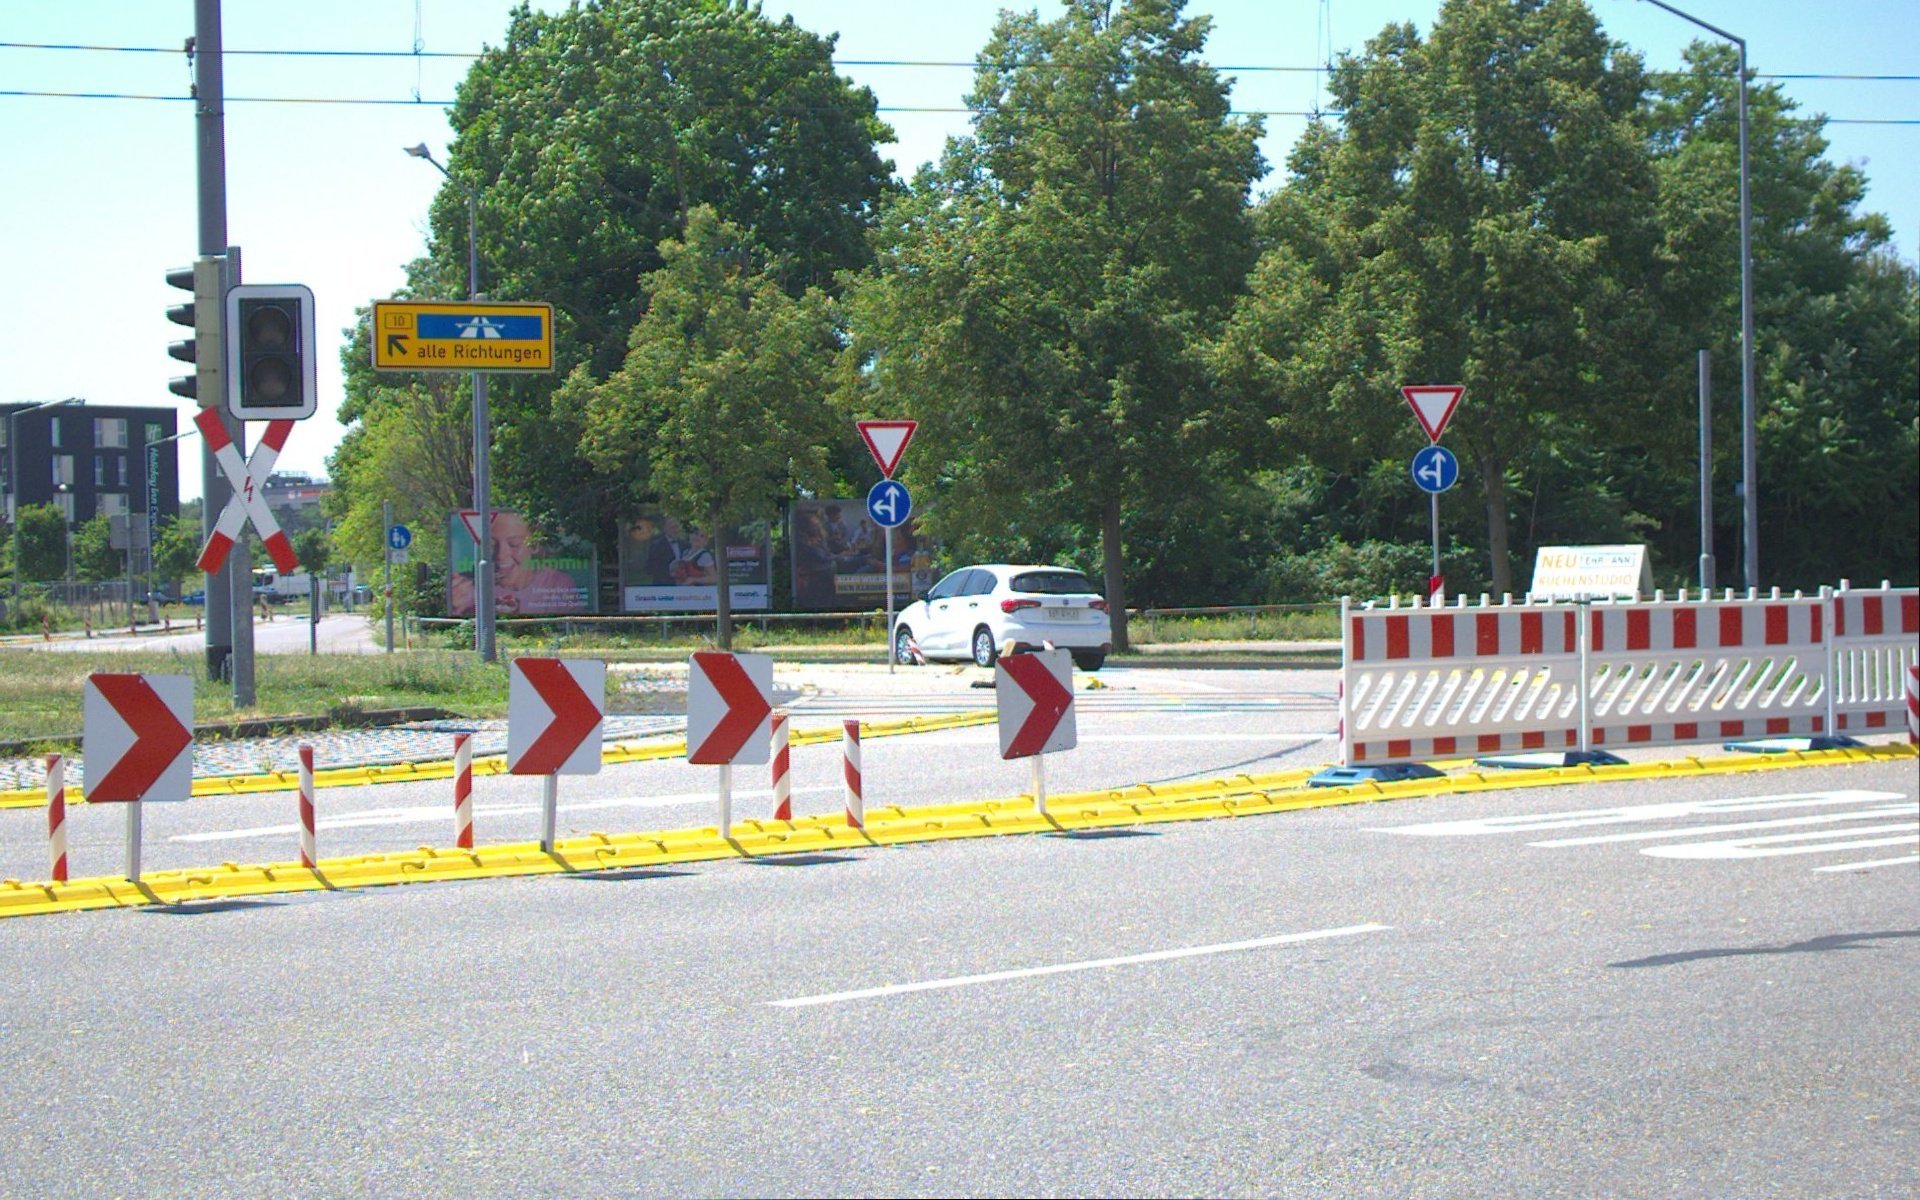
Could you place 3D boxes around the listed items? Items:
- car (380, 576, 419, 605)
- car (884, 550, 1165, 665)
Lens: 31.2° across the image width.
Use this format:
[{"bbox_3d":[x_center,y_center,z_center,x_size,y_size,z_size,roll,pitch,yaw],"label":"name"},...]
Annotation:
[{"bbox_3d":[-27.045,-0.457,165.929,1.658,1.368,3.032,-1,1,-6],"label":"car"},{"bbox_3d":[0.837,0.096,47.691,1.993,1.481,4.367,-1,1,-28],"label":"car"}]
